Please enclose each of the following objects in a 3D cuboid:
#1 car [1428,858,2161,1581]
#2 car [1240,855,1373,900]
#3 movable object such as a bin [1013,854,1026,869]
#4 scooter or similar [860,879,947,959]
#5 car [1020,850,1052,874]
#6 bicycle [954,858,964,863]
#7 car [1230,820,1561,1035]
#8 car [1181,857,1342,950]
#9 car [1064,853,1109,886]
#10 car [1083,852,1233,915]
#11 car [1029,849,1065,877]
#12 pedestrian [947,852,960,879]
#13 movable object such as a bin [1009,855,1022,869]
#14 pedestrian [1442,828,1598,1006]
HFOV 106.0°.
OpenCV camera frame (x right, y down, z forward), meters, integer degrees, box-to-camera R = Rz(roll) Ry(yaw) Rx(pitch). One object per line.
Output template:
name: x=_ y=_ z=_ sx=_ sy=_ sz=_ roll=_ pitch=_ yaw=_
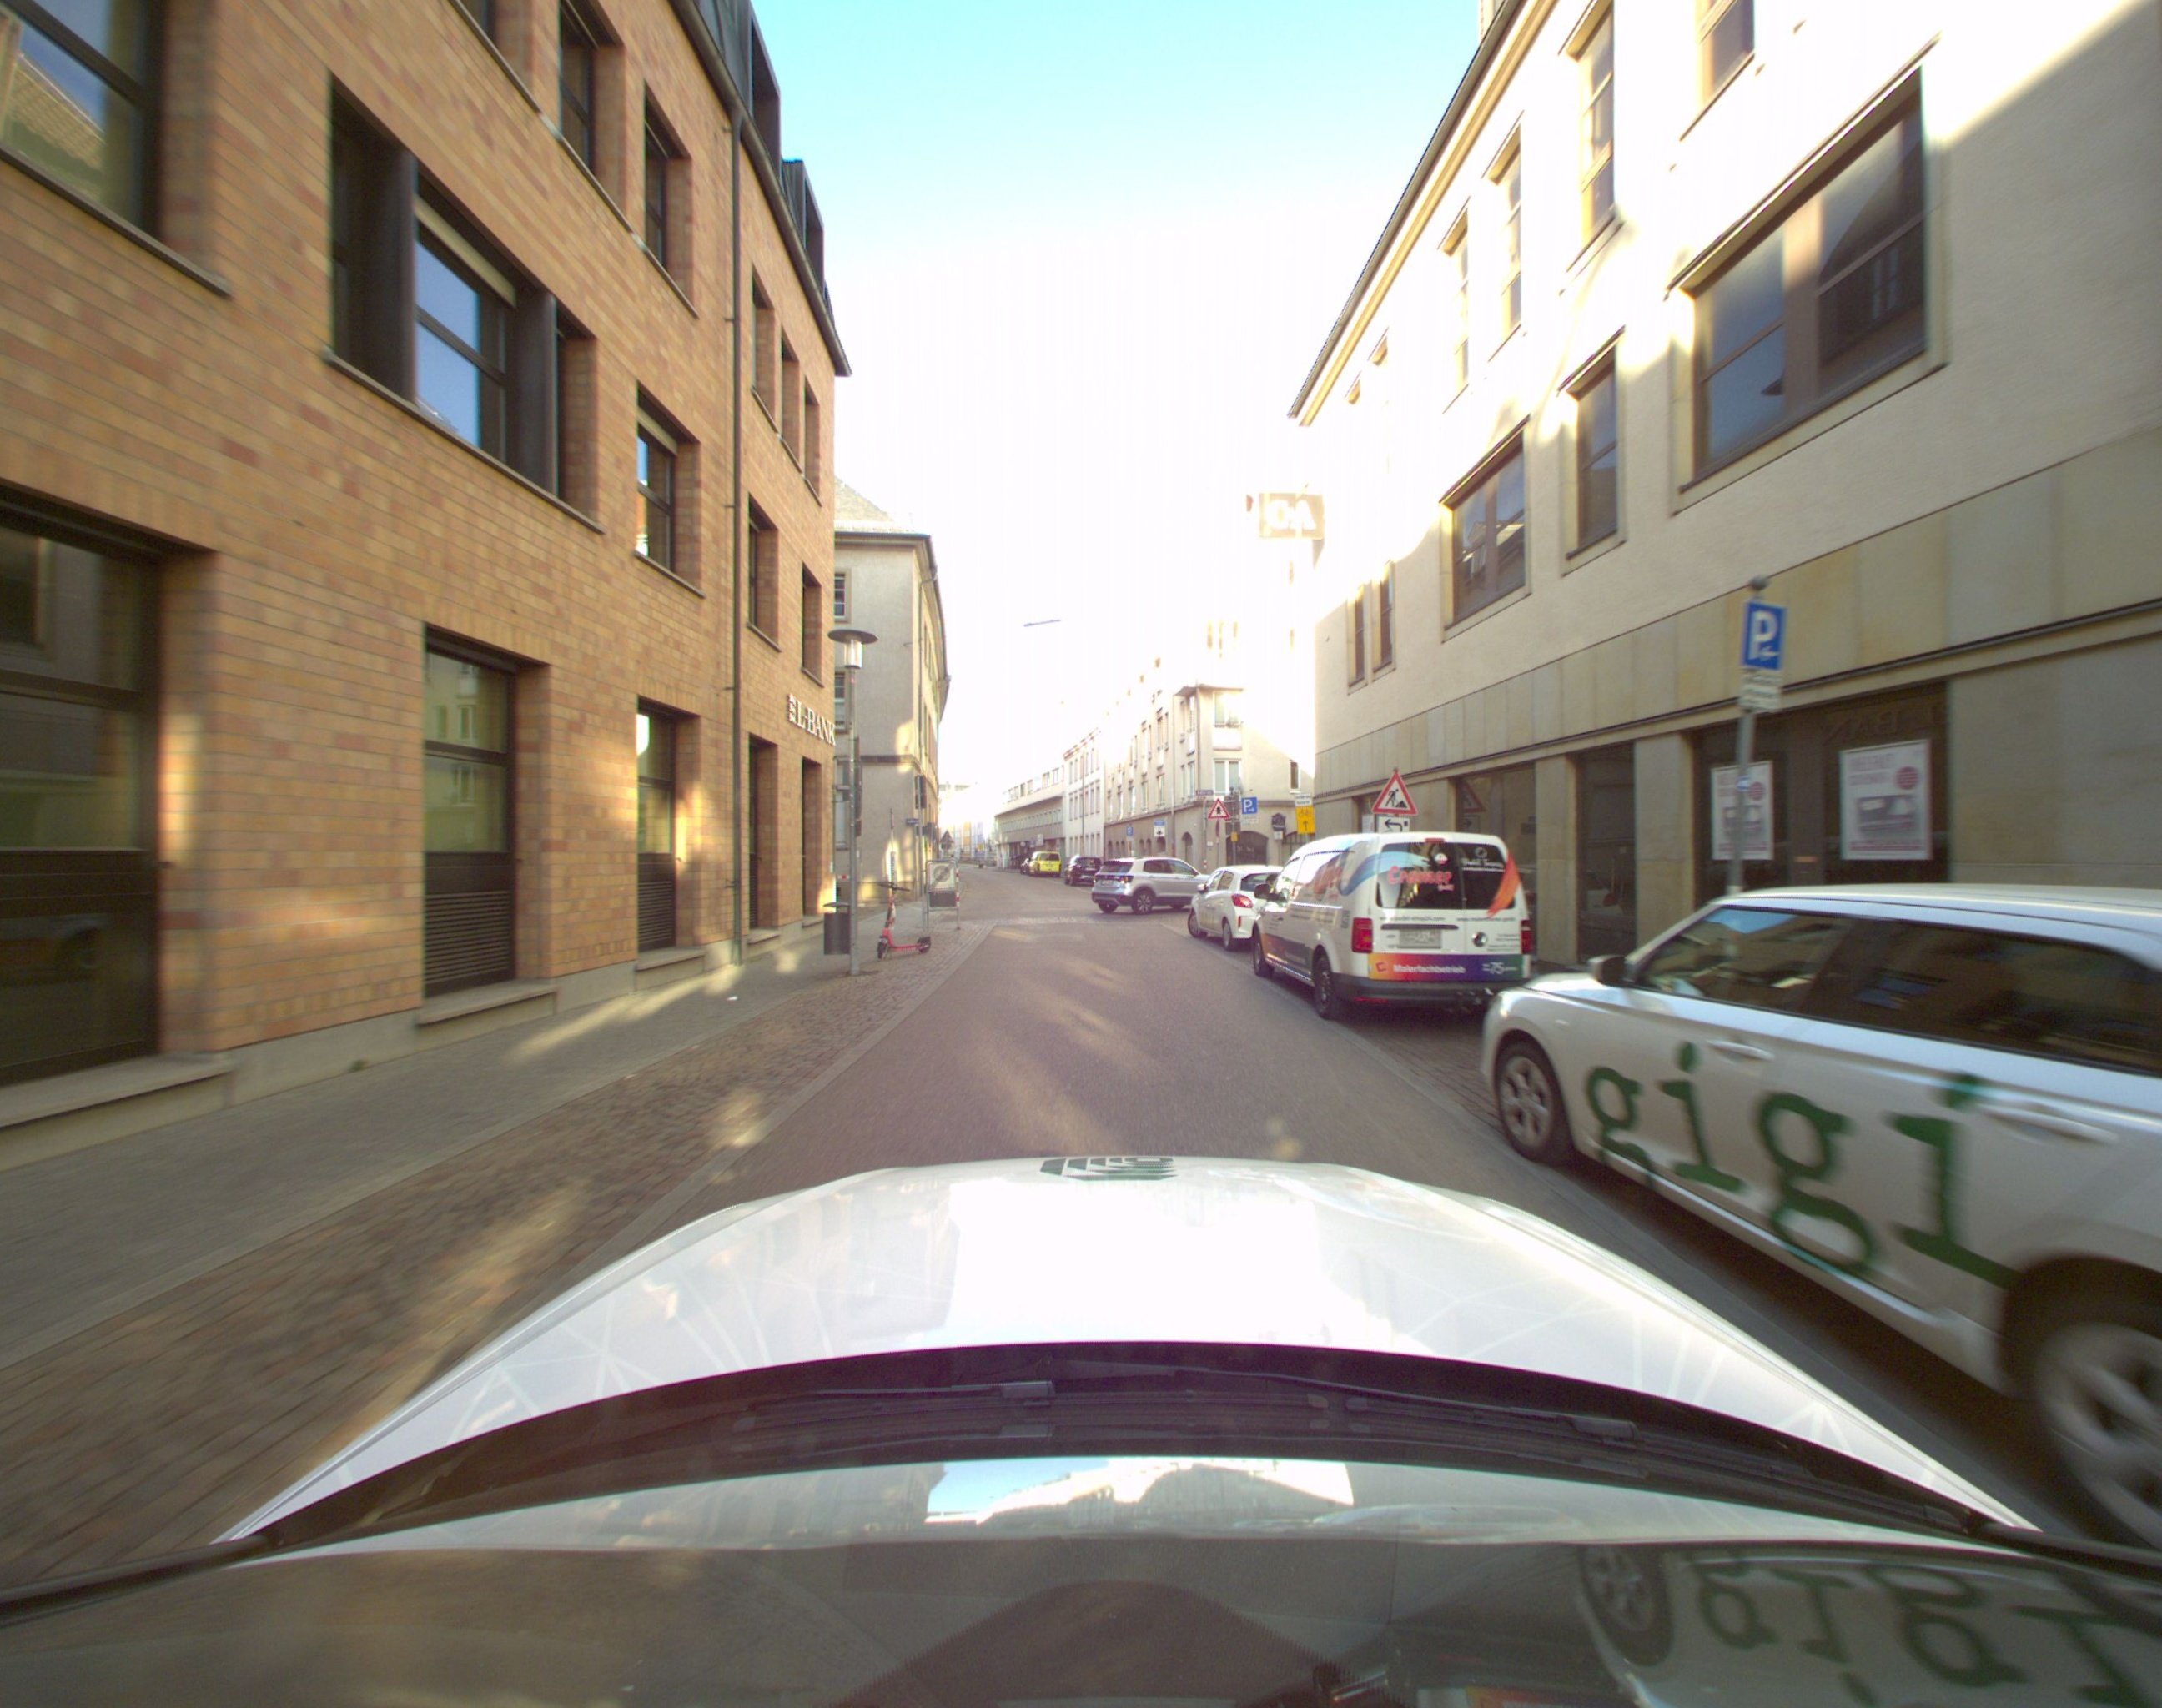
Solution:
car: x=3.176 y=0.798 z=3.148 sx=1.835 sy=1.478 sz=4.166 roll=2 pitch=0 yaw=-1
car: x=7.958 y=0.823 z=29.025 sx=4.205 sy=1.553 sz=1.900 roll=0 pitch=0 yaw=-3
movable object such as a bin: x=-6.484 y=0.804 z=85.860 sx=1.134 sy=1.558 sz=1.730 roll=0 pitch=0 yaw=-16
scooter or similar: x=-2.931 y=1.047 z=13.573 sx=0.691 sy=1.217 sz=1.365 roll=-1 pitch=0 yaw=27
car: x=-3.748 y=0.650 z=67.469 sx=2.054 sy=1.873 sz=4.083 roll=0 pitch=0 yaw=-12
bicycle: x=-22.539 y=1.197 z=150.006 sx=1.783 sy=1.000 sz=0.544 roll=0 pitch=0 yaw=-14
car: x=3.129 y=0.631 z=9.454 sx=1.825 sy=1.791 sz=5.212 roll=1 pitch=0 yaw=0
car: x=3.233 y=0.817 z=15.478 sx=1.885 sy=1.518 sz=4.056 roll=0 pitch=0 yaw=-5
car: x=0.244 y=0.821 z=45.290 sx=1.966 sy=1.692 sz=4.090 roll=1 pitch=0 yaw=-8
car: x=2.227 y=0.780 z=23.178 sx=4.016 sy=1.562 sz=1.823 roll=-1 pitch=0 yaw=-34
car: x=-2.645 y=0.657 z=61.703 sx=2.054 sy=2.013 sz=4.157 roll=0 pitch=0 yaw=-12
pedestrian: x=-8.152 y=0.736 z=51.879 sx=0.767 sy=1.724 sz=0.684 roll=0 pitch=0 yaw=-14
movable object such as a bin: x=-7.073 y=0.833 z=87.553 sx=1.134 sy=1.479 sz=1.730 roll=0 pitch=0 yaw=-16
pedestrian: x=4.723 y=0.640 z=8.873 sx=1.039 sy=1.801 sz=1.198 roll=0 pitch=-1 yaw=0
